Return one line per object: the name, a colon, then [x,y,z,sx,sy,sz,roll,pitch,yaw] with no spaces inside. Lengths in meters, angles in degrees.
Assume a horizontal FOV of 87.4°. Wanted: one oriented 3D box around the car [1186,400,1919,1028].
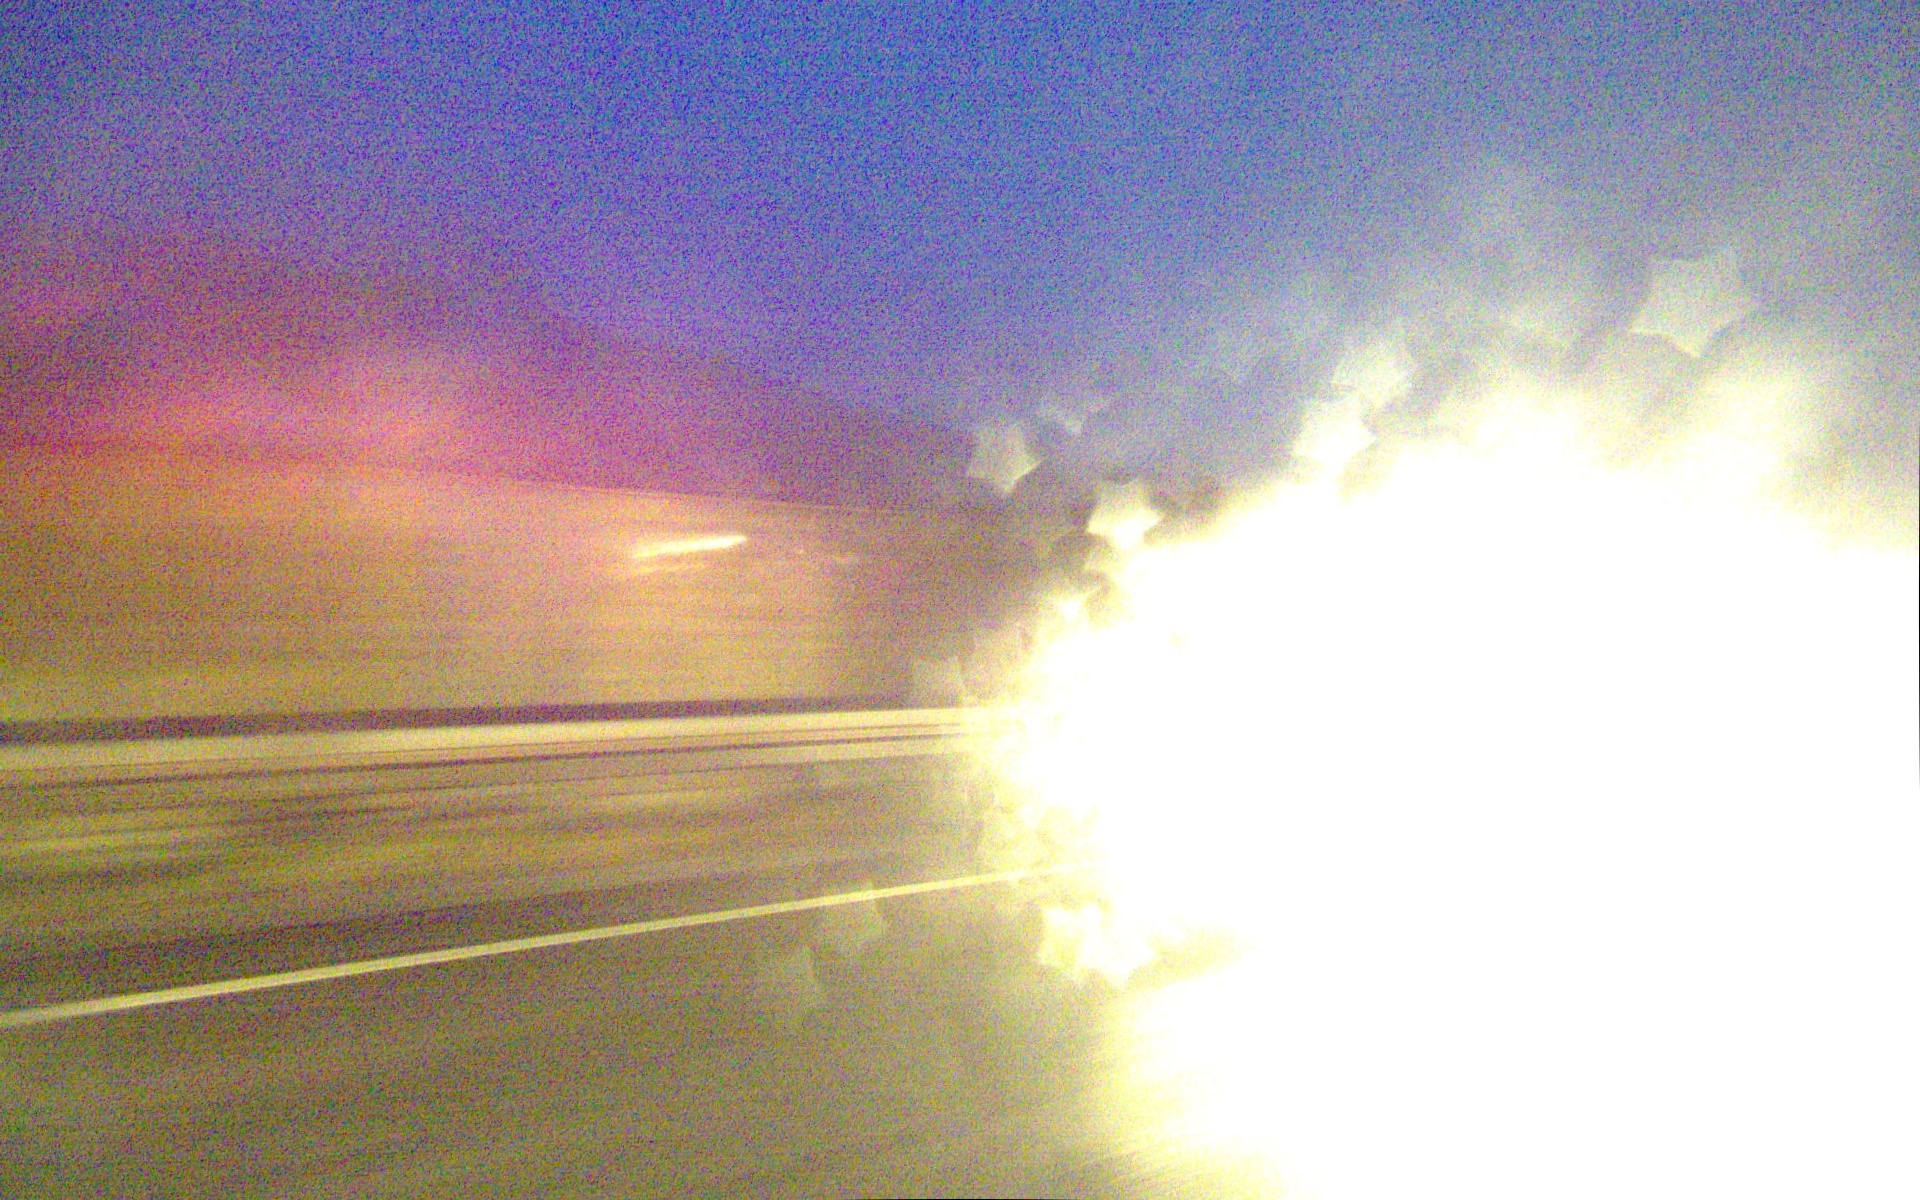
car: [4.046,0.446,5.924,5.403,2.303,1.984,1,0,-30]
